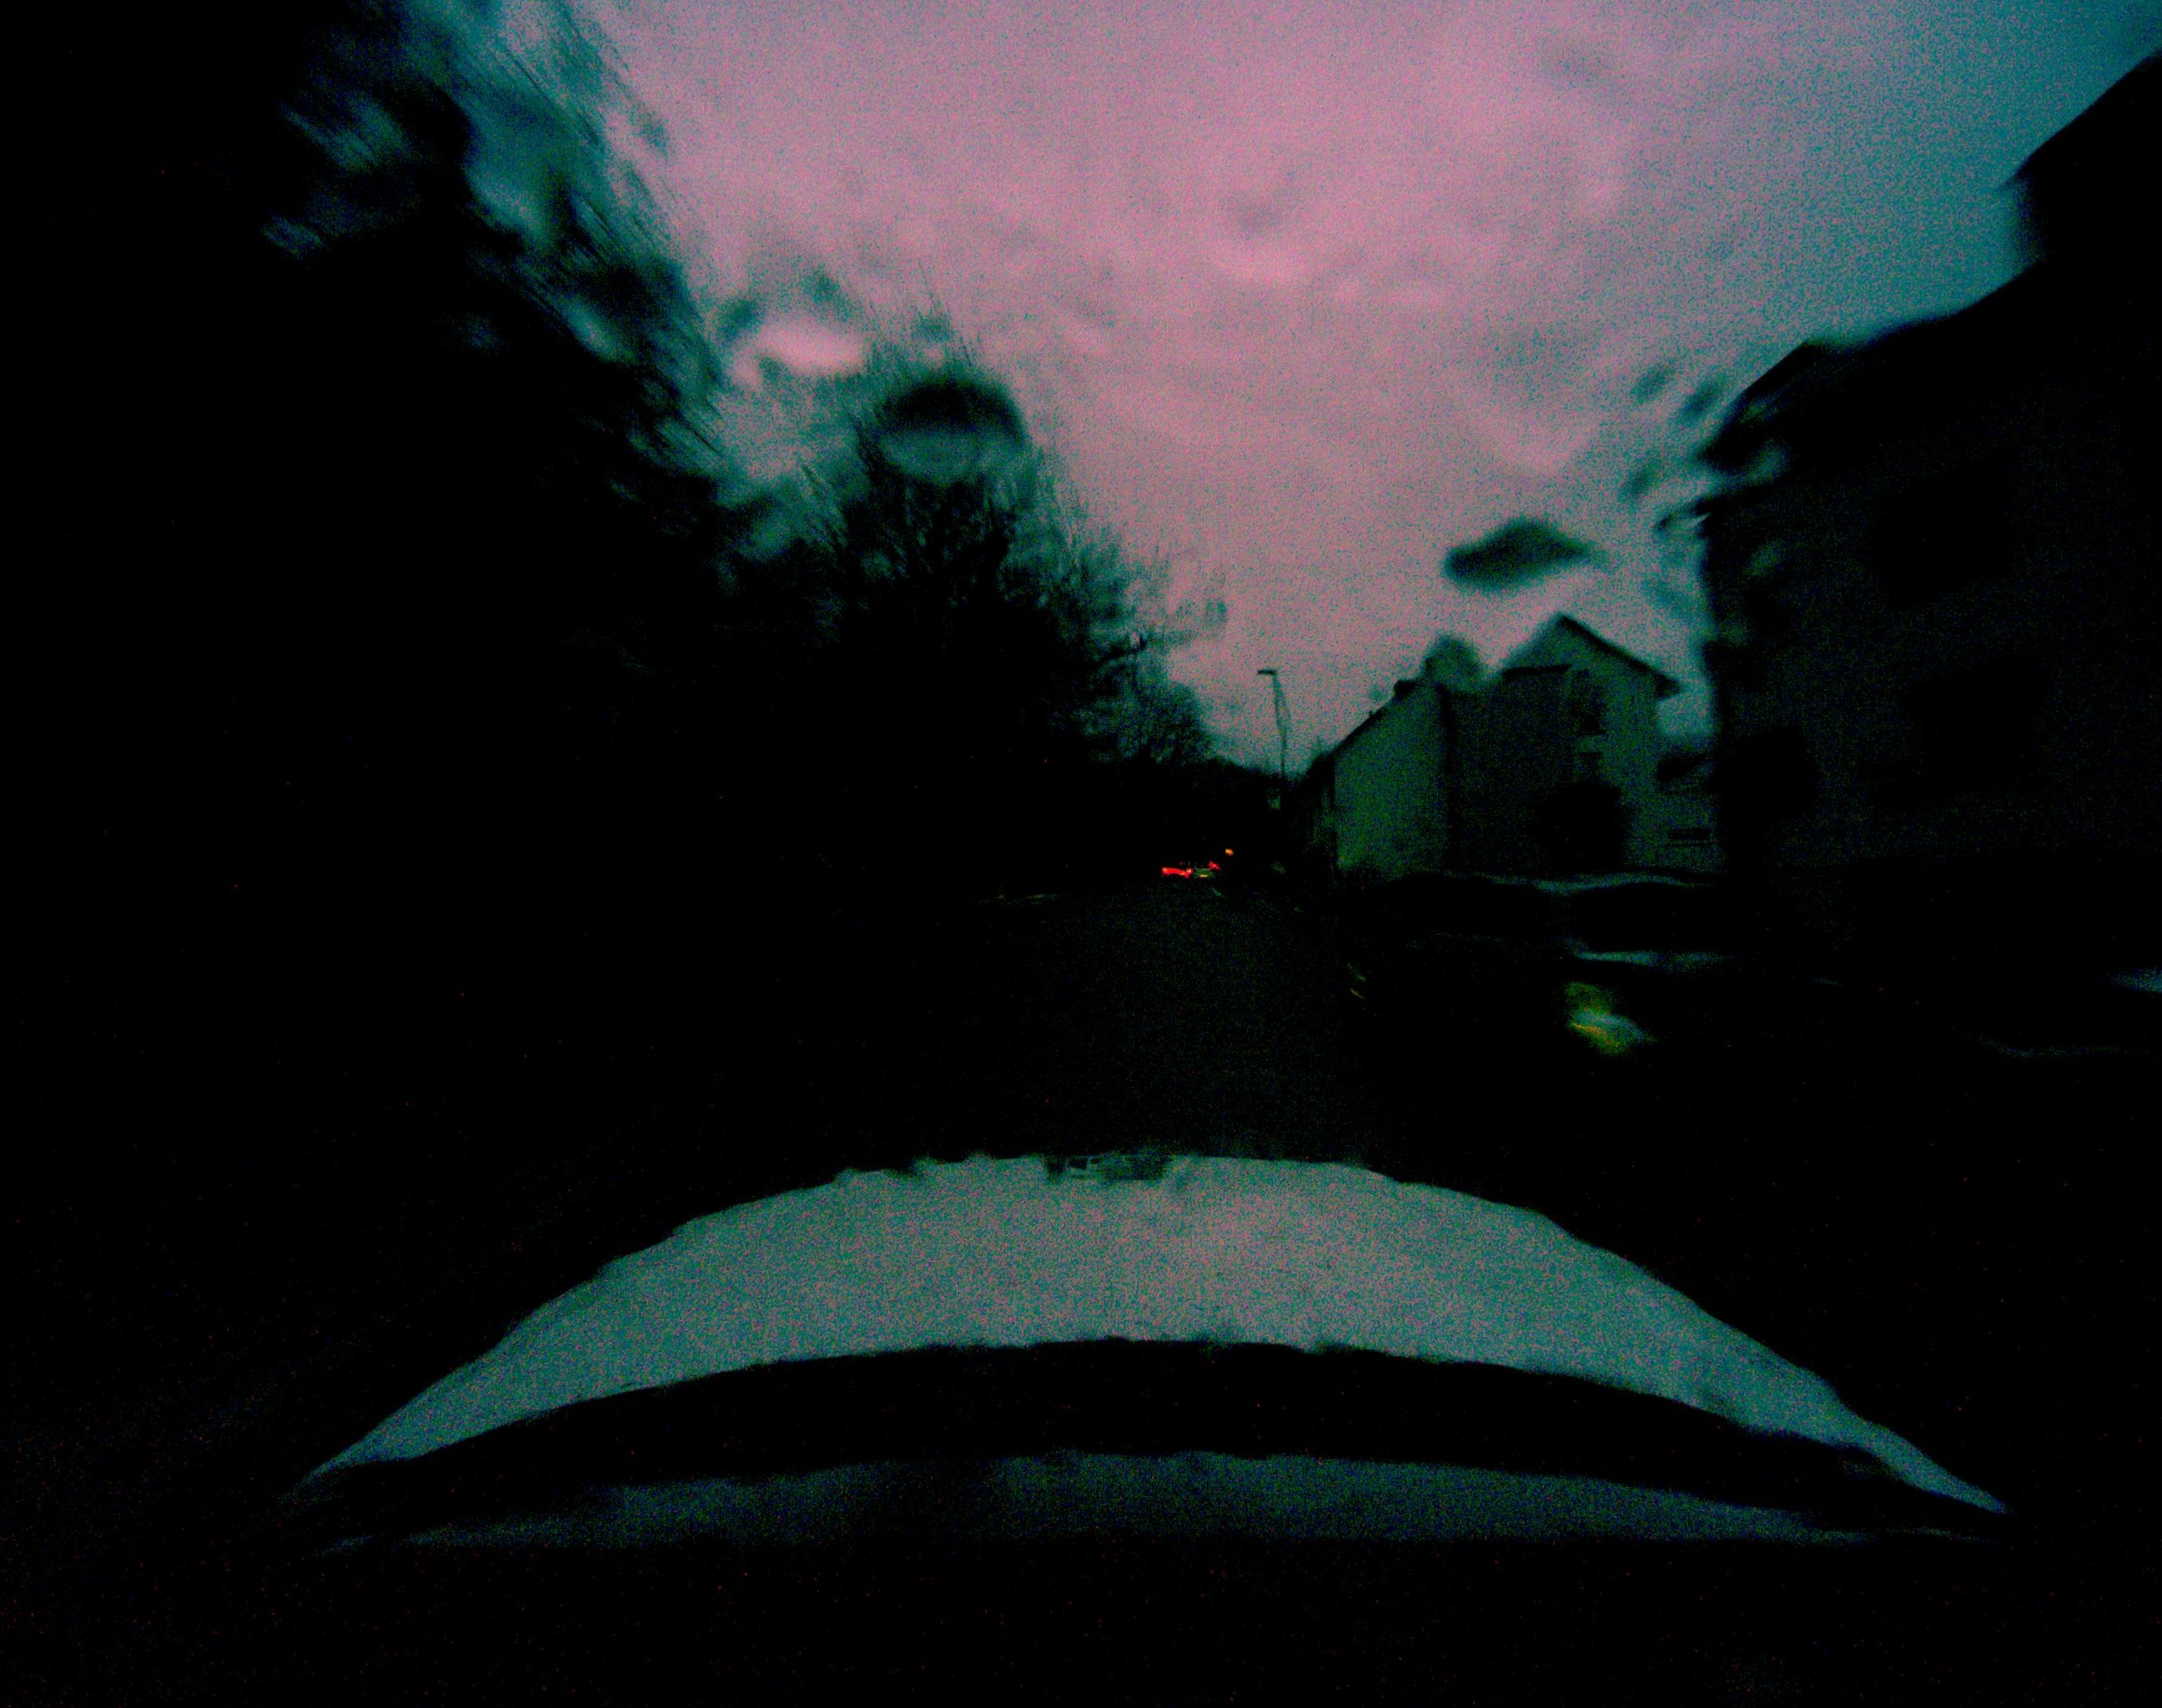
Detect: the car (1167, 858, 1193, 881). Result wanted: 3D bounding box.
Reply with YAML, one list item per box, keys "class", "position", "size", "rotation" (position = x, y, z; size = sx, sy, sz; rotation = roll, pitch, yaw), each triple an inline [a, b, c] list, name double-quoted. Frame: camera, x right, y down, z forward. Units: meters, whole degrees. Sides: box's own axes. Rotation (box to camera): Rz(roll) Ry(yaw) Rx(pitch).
- class: "car"
  position: [8.306, 1.229, 67.913]
  size: [1.921, 1.781, 4.011]
  rotation: [-2, 0, 10]

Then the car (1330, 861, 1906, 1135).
- class: "car"
  position: [3.501, 0.785, 6.510]
  size: [1.732, 1.429, 4.457]
  rotation: [0, -1, 1]

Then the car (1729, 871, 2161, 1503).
- class: "car"
  position: [3.274, 0.756, 0.834]
  size: [1.650, 1.429, 4.564]
  rotation: [0, -1, 1]

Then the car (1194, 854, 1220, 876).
- class: "car"
  position: [9.132, 0.801, 58.900]
  size: [1.693, 1.506, 4.036]
  rotation: [-1, -1, 10]
